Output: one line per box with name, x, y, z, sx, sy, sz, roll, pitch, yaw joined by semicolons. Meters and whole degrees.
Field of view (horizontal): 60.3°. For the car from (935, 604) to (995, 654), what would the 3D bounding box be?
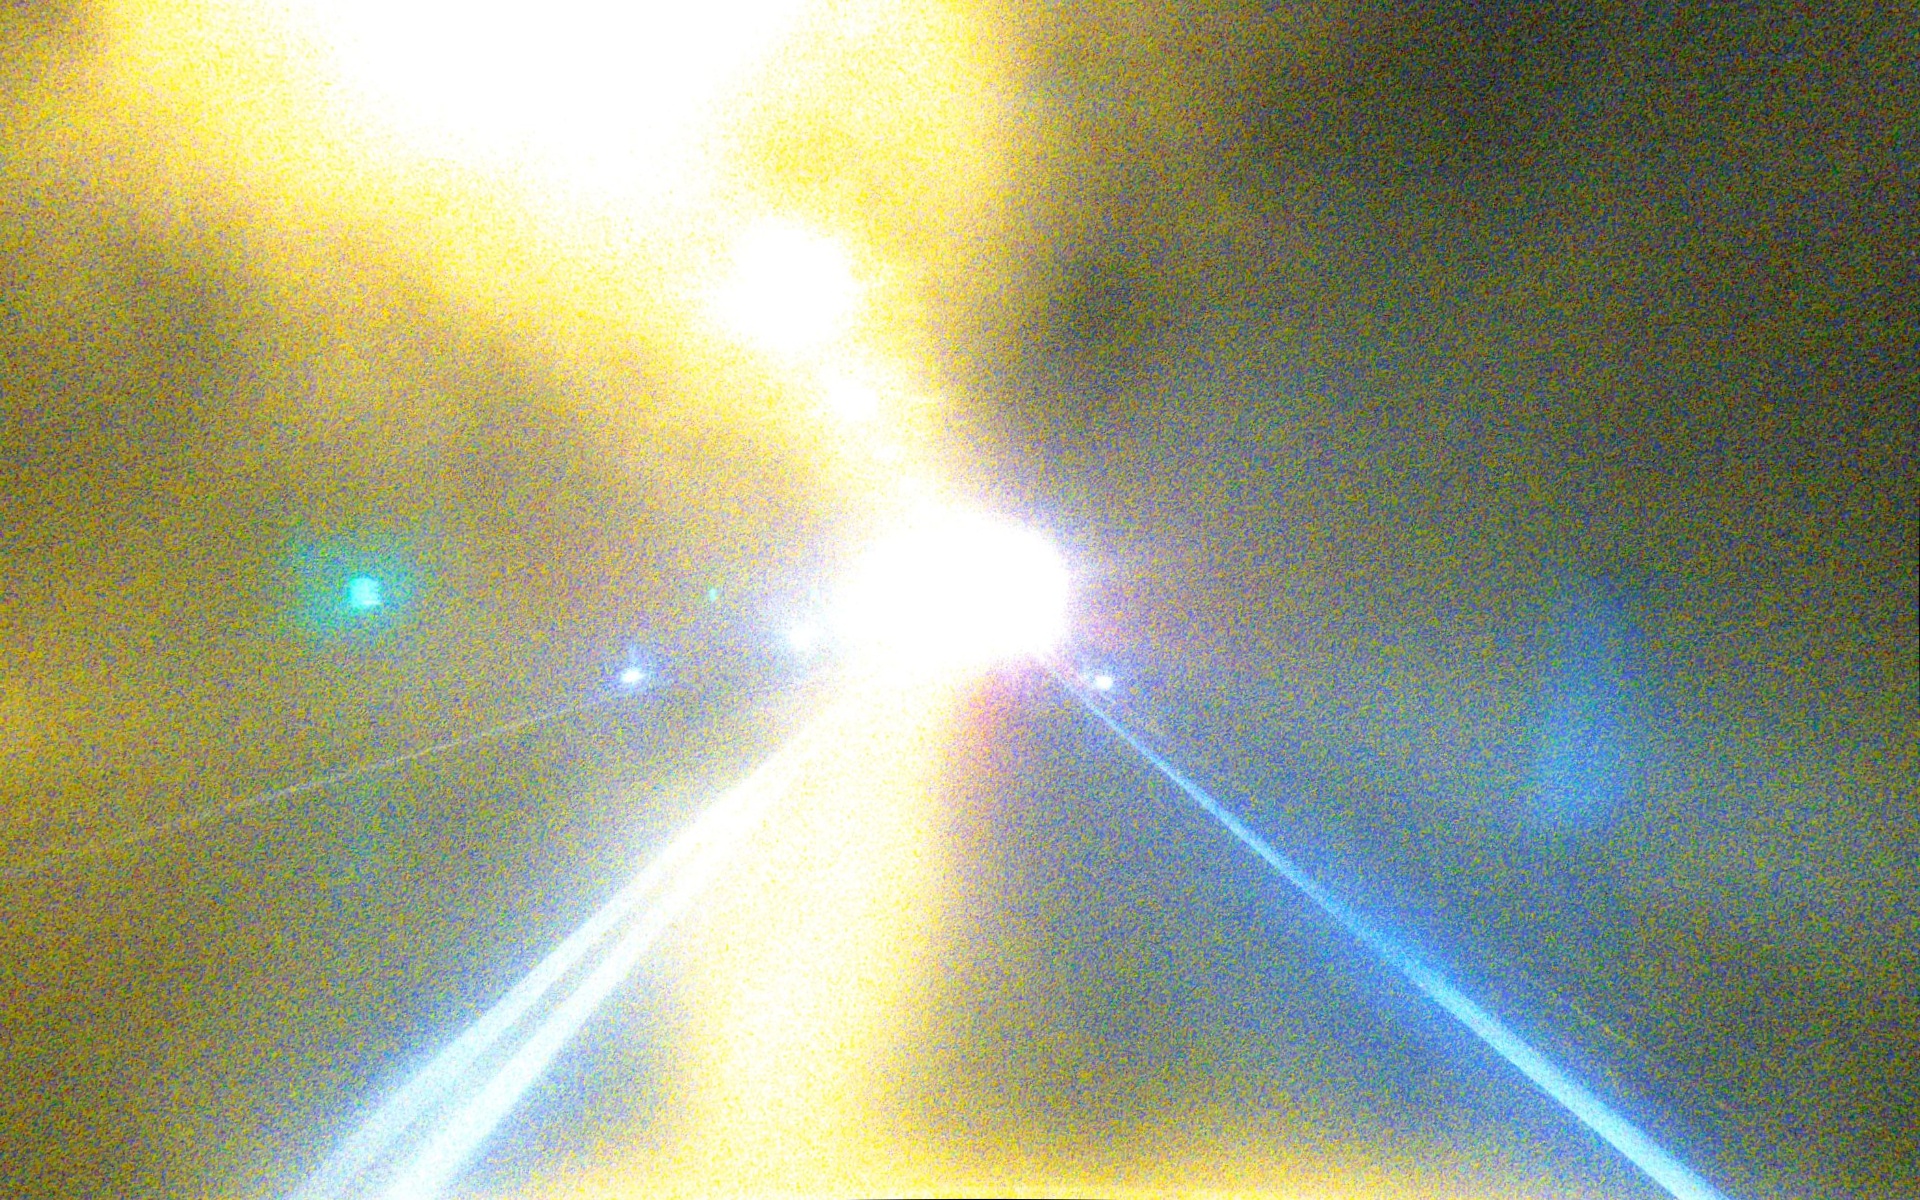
car;0.191;1.021;59.372;2.046;1.691;4.000;1;-1;0
